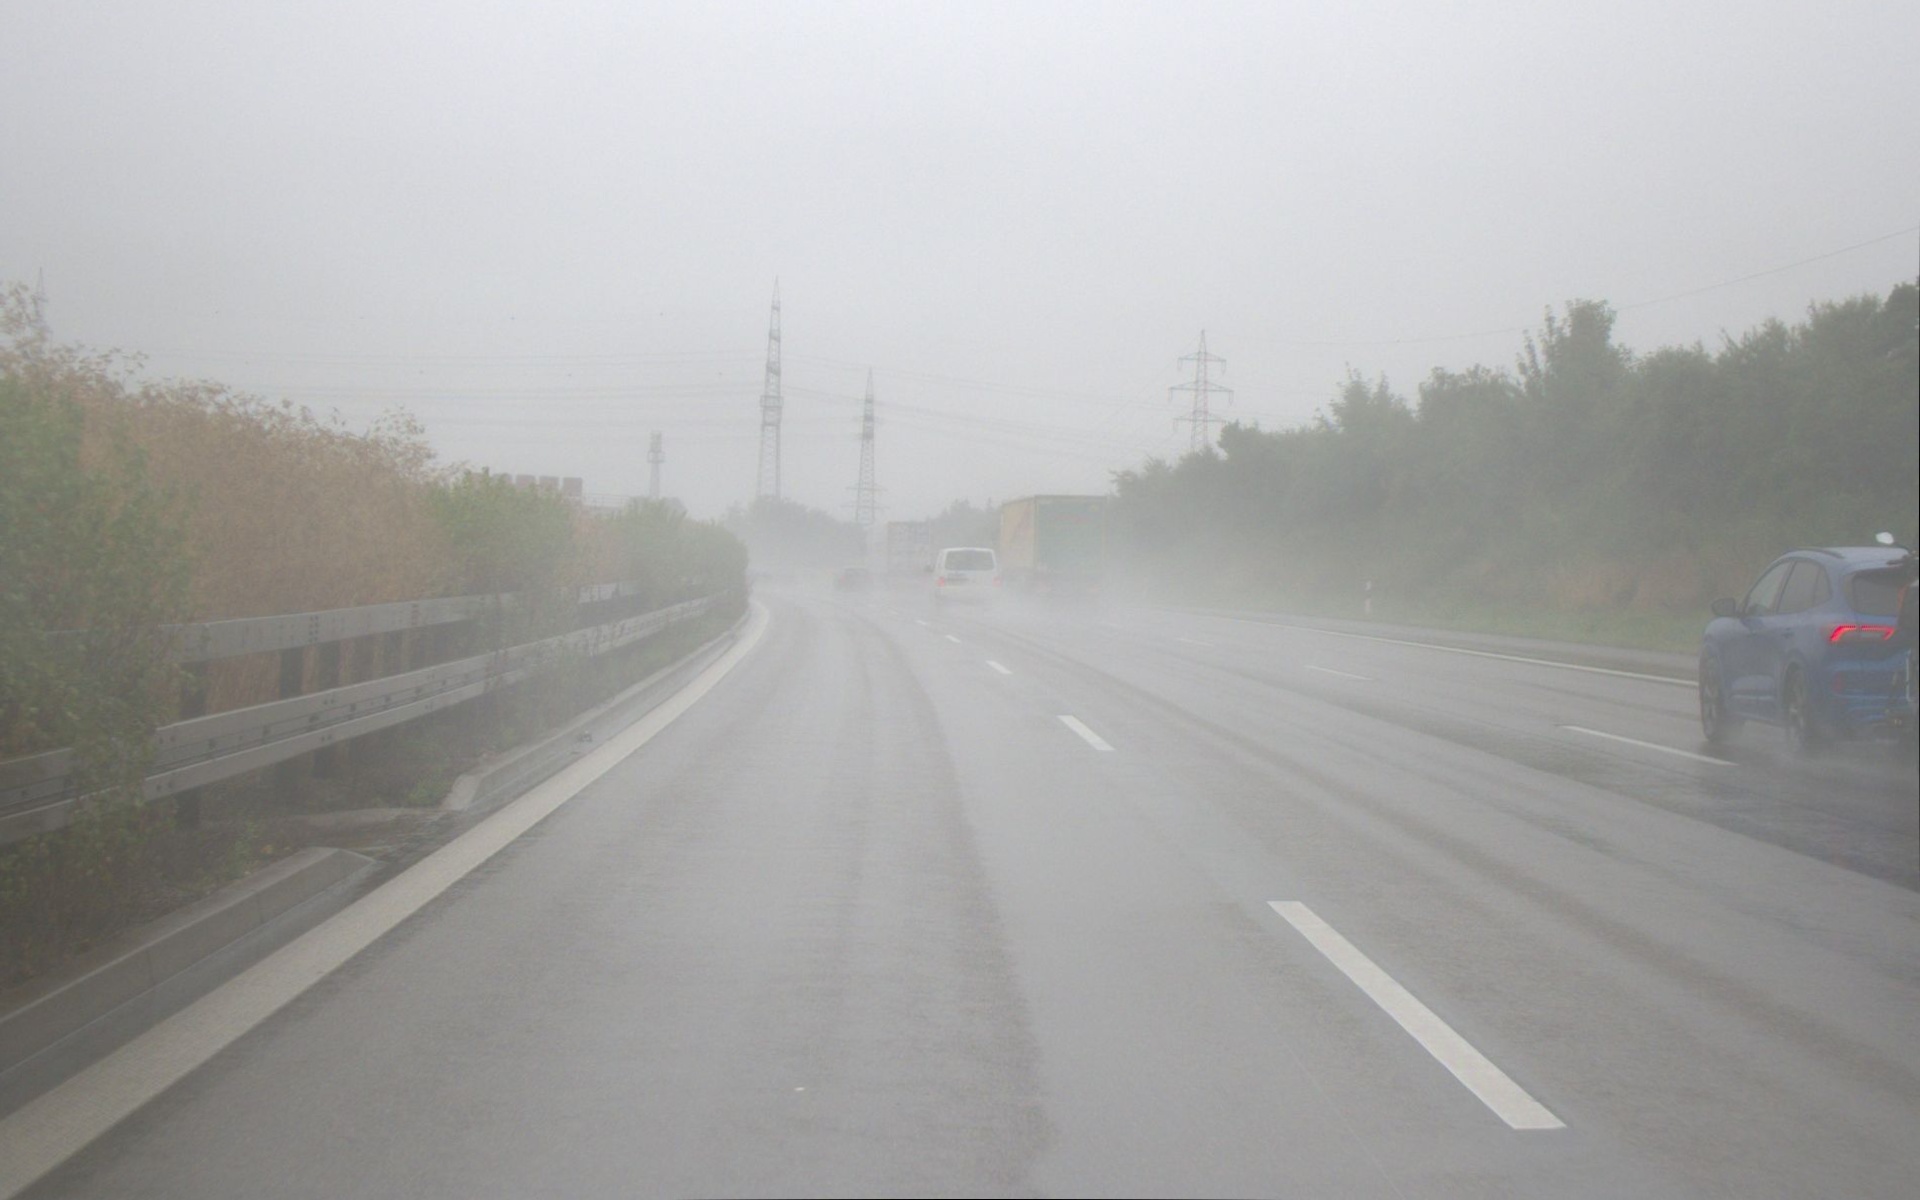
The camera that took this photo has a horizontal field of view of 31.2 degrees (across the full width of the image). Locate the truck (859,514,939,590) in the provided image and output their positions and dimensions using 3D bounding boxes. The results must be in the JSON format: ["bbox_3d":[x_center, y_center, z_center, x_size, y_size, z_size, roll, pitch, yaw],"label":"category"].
[{"bbox_3d":[-3.579,-2.789,198.982,3.231,4.297,8.839,0,1,-10],"label":"truck"}]

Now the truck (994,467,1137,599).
[{"bbox_3d":[3.789,-2.382,128.684,4.189,4.614,16.106,1,0,-2],"label":"truck"}]

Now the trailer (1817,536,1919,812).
[{"bbox_3d":[7.177,0.484,23.143,1.979,1.779,3.189,0,0,-1],"label":"trailer"}]

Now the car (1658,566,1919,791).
[{"bbox_3d":[7.113,0.566,27.270,1.993,1.613,4.993,0,0,-2],"label":"car"}]

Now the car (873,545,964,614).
[{"bbox_3d":[-1.258,-0.629,102.792,1.993,2.007,4.001,0,1,-12],"label":"car"}]
